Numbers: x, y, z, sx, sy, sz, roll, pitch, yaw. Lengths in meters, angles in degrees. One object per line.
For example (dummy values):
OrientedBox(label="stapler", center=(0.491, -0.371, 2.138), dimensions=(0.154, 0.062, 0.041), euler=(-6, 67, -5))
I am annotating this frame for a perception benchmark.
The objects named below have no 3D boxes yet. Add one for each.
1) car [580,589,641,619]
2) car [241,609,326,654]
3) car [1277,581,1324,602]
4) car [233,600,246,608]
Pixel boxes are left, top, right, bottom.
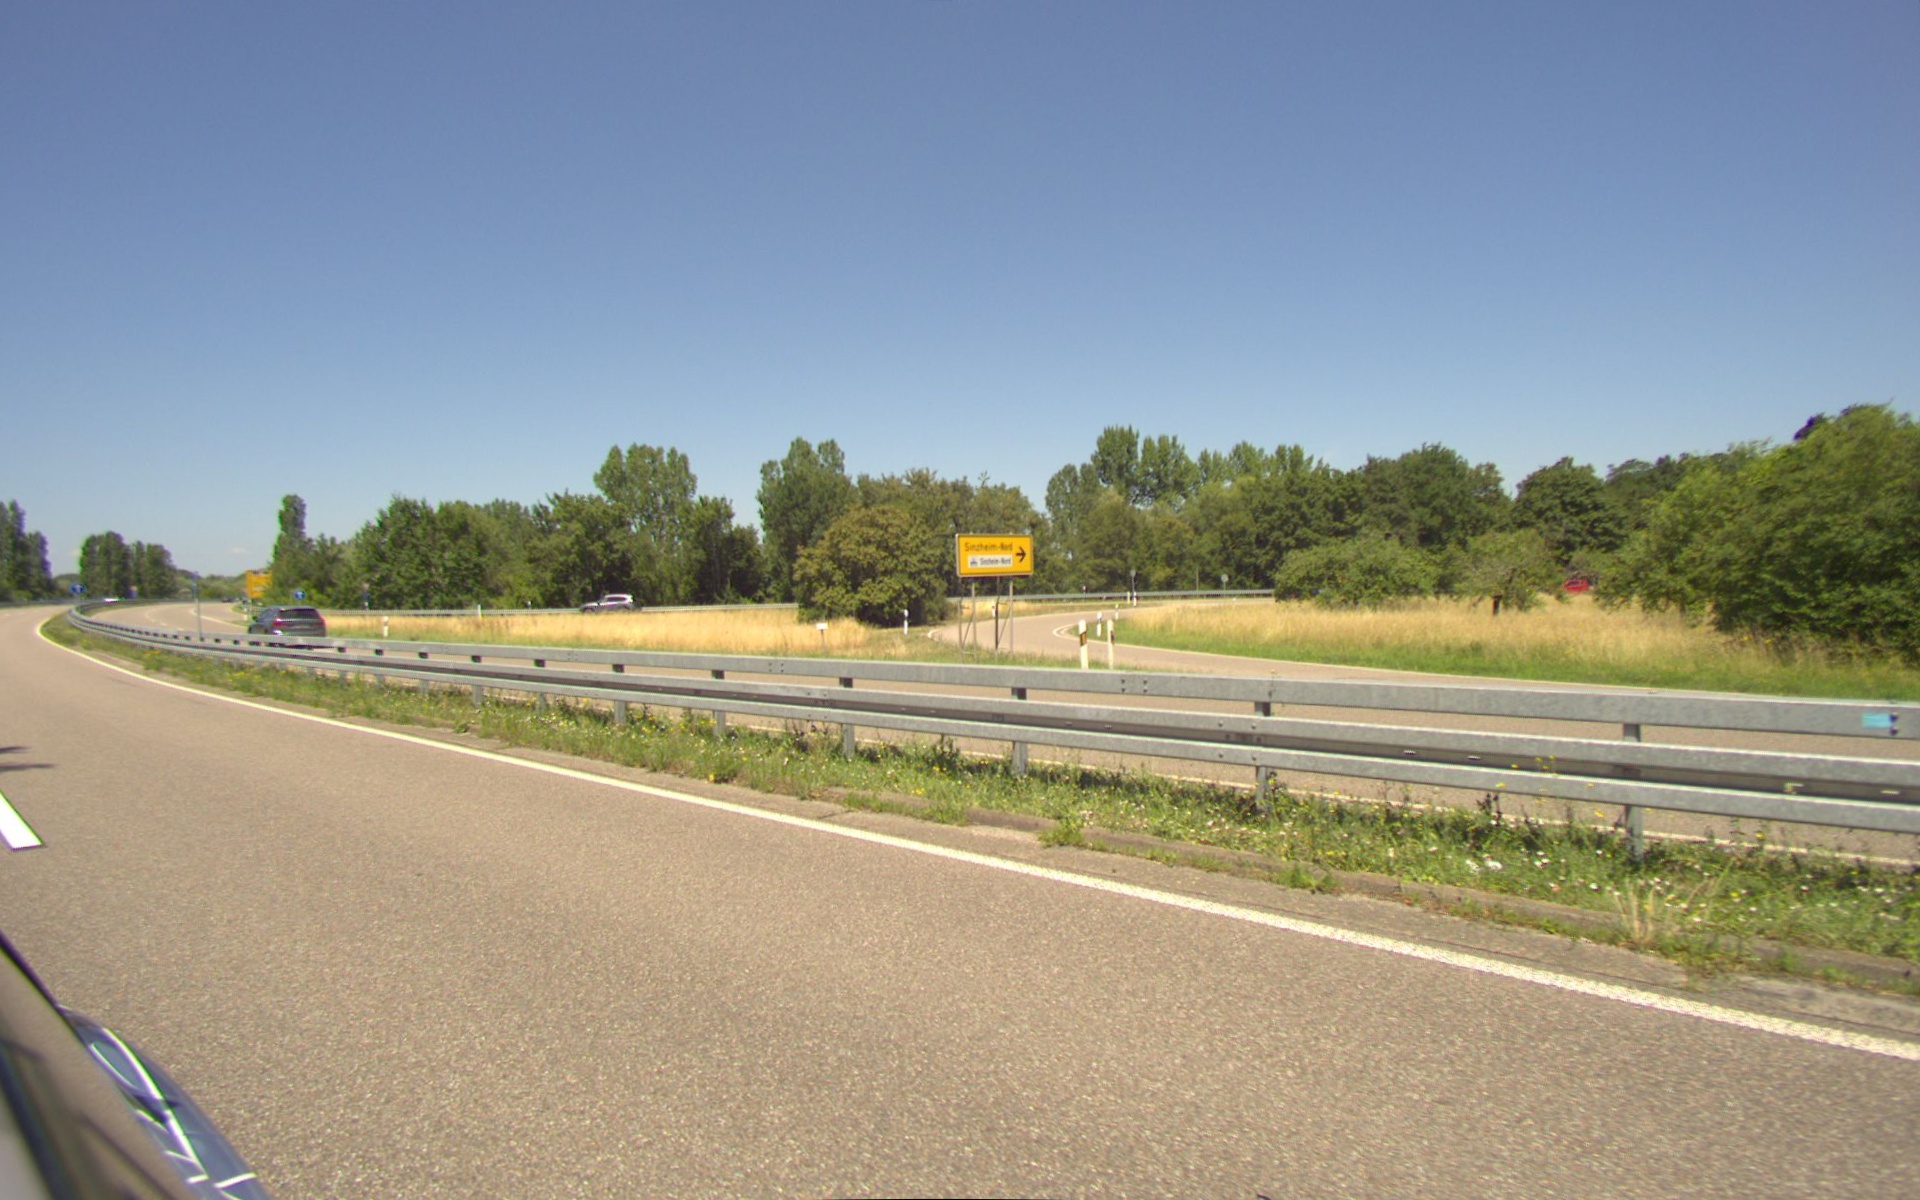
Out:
OrientedBox(label="car", center=(-26.533, 0.273, 76.947), dimensions=(3.942, 2.028, 2.001), euler=(-2, 2, -1))
OrientedBox(label="car", center=(-26.210, 1.199, 39.155), dimensions=(4.540, 1.630, 1.804), euler=(-1, -1, 43))
OrientedBox(label="car", center=(29.523, -0.723, 87.790), dimensions=(3.935, 1.709, 2.004), euler=(-2, 1, -38))
OrientedBox(label="car", center=(-145.126, 0.783, 203.918), dimensions=(1.943, 1.497, 3.882), euler=(-2, 2, -32))
